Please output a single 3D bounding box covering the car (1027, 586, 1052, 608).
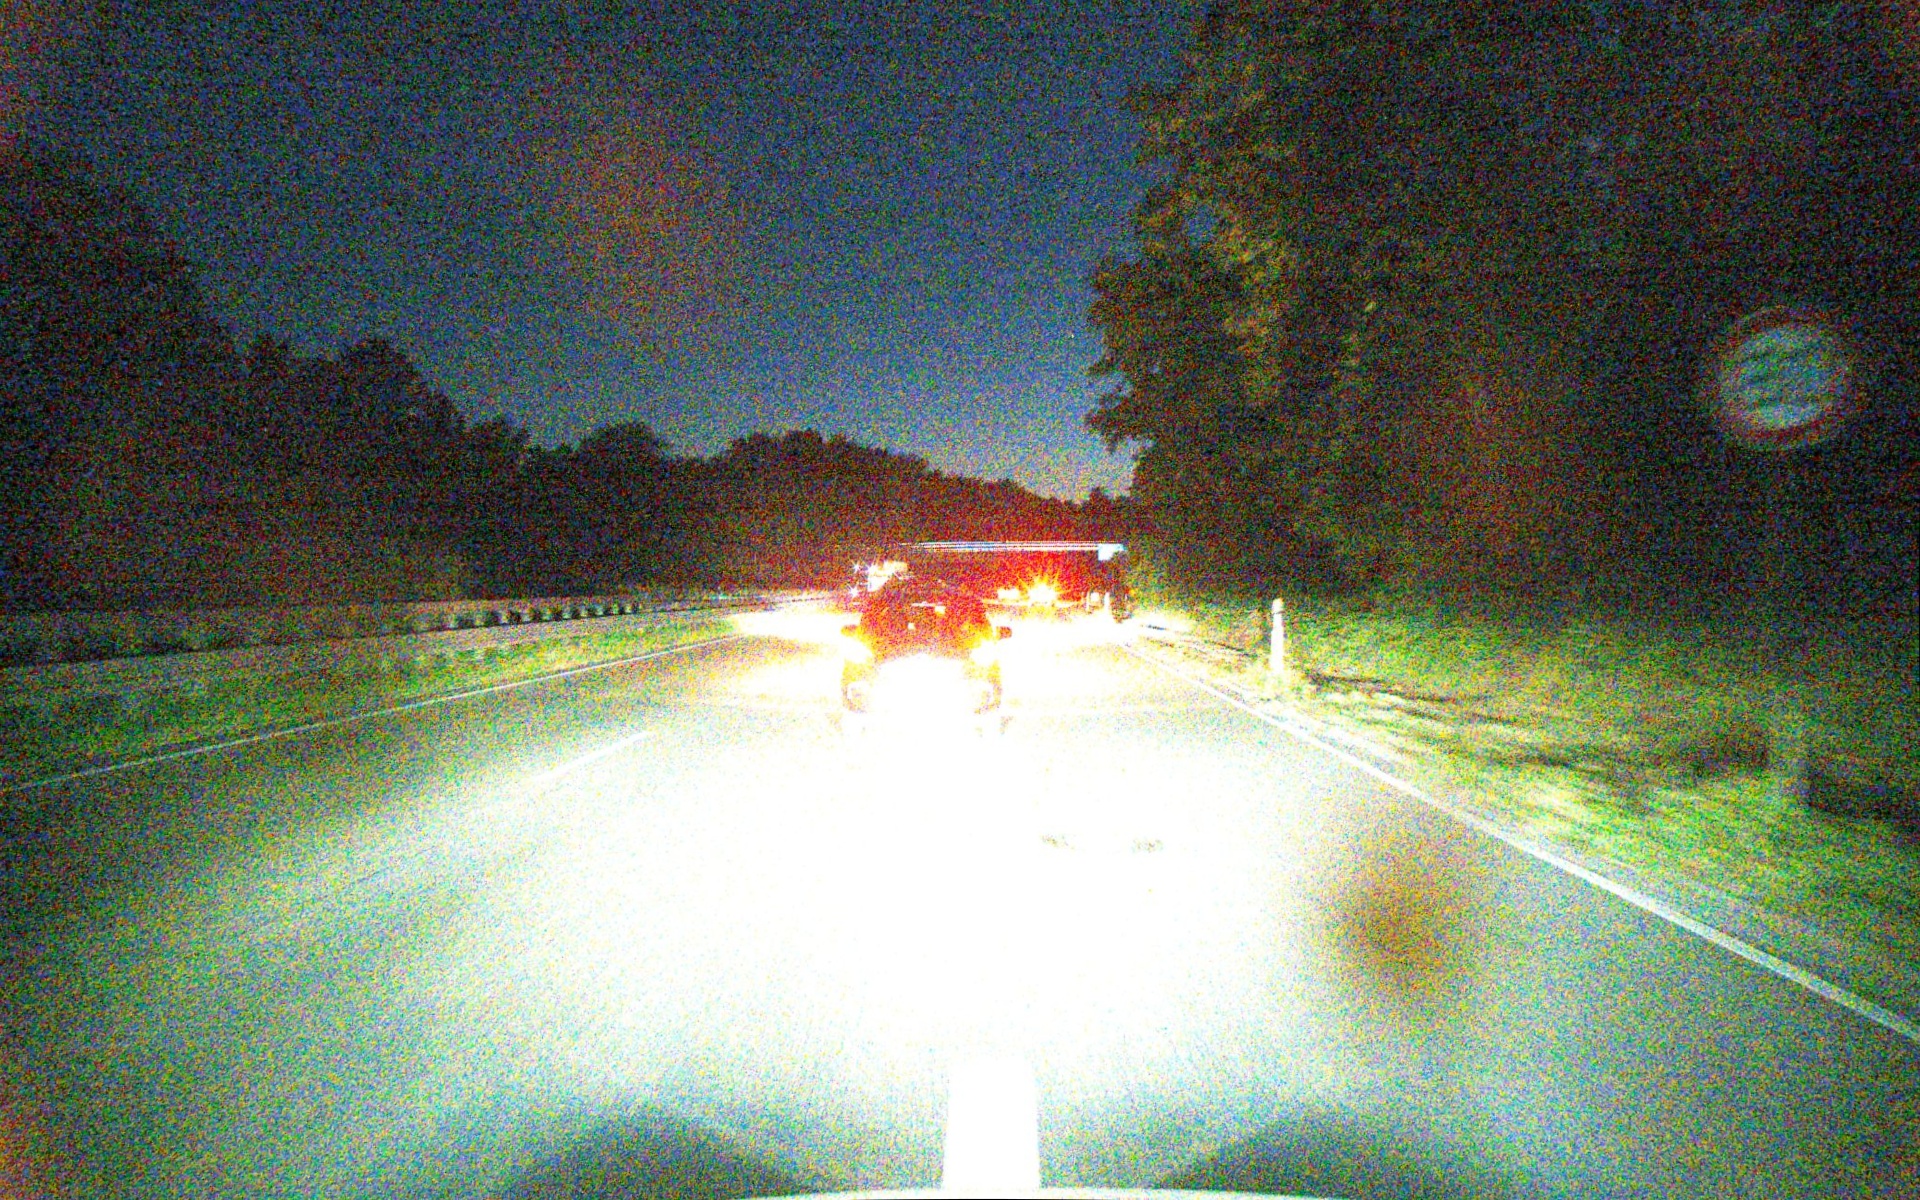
[{"bbox_3d":[5.858,-0.225,122.372,1.698,1.646,3.798,1,0,0],"label":"car"}]

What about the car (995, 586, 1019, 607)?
[{"bbox_3d":[4.057,-0.284,142.596,1.911,1.565,4.242,-4,-1,2],"label":"car"}]

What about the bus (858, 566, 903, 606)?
[{"bbox_3d":[-7.011,-1.321,147.832,2.862,3.446,12.312,0,1,3],"label":"bus"}]

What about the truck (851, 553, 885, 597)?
[{"bbox_3d":[-8.991,-2.449,161.828,2.620,4.250,5.871,0,1,3],"label":"truck"}]

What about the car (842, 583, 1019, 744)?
[{"bbox_3d":[-0.371,0.594,17.711,1.657,1.503,3.998,1,0,-3],"label":"car"}]

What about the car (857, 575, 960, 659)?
[{"bbox_3d":[-1.027,0.306,35.145,1.900,1.636,4.644,1,1,1],"label":"car"}]
